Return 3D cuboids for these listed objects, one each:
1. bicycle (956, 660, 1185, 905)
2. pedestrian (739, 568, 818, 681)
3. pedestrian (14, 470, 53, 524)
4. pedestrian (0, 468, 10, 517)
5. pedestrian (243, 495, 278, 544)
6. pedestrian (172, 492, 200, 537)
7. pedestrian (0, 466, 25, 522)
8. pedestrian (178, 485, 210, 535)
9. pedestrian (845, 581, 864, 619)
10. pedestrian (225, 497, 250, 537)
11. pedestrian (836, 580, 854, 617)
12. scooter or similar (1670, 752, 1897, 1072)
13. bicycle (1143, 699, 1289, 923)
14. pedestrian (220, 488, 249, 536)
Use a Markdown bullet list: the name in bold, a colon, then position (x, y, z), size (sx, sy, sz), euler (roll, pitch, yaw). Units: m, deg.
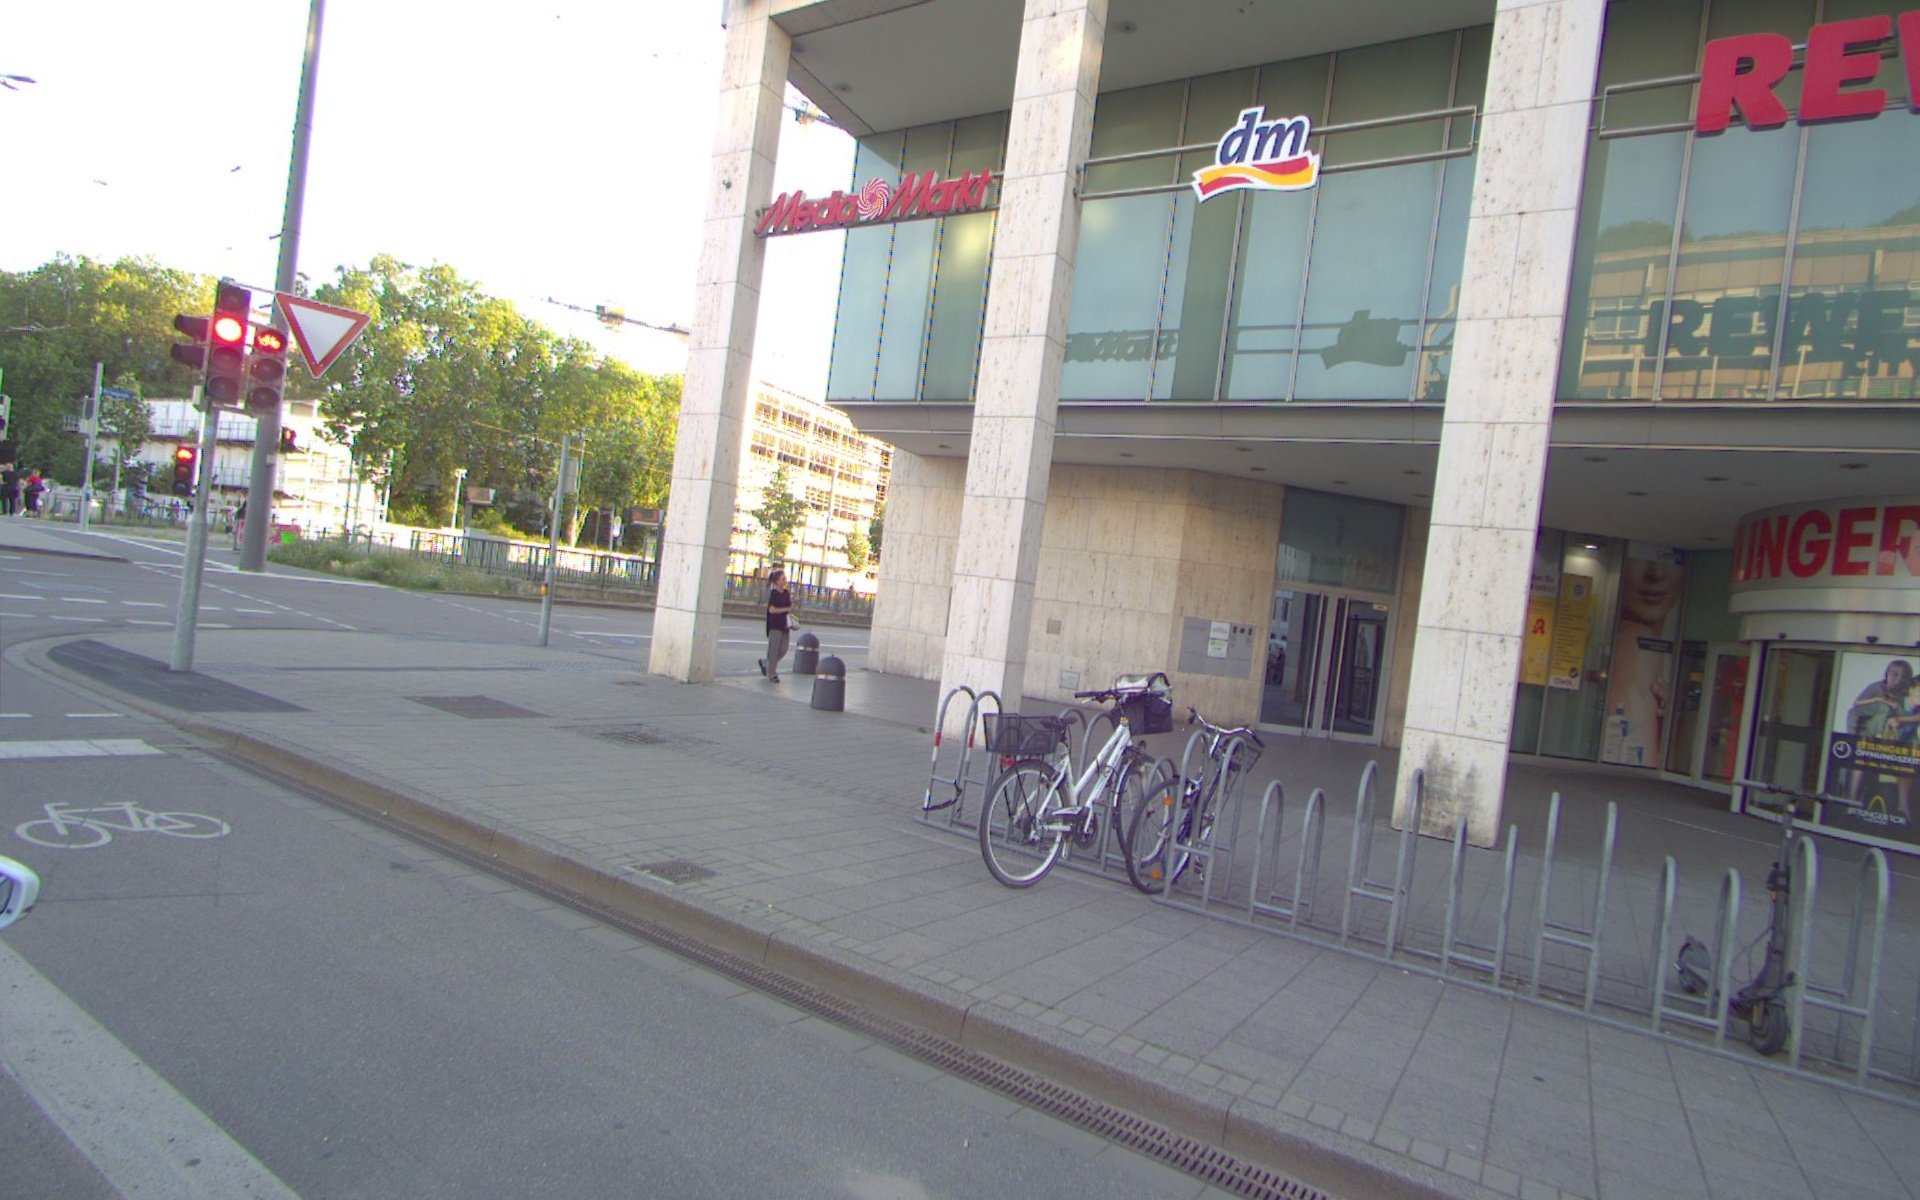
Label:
- **bicycle**: position (0.697, 1.006, 5.925), size (0.540, 1.198, 1.479), euler (8, 1, 36)
- **pedestrian**: position (-2.855, 0.396, 15.850), size (0.696, 1.659, 0.791), euler (8, 1, 32)
- **pedestrian**: position (-32.686, -3.628, 35.491), size (0.696, 1.756, 0.843), euler (8, 1, 44)
- **pedestrian**: position (-33.984, -3.813, 35.458), size (0.570, 1.699, 0.631), euler (7, 1, -44)
- **pedestrian**: position (-26.983, -3.090, 38.823), size (0.700, 1.746, 0.668), euler (8, 1, 21)
- **pedestrian**: position (-29.587, -3.274, 38.467), size (0.527, 1.612, 0.571), euler (8, 1, 32)
- **pedestrian**: position (-32.808, -3.665, 34.590), size (0.803, 1.814, 0.790), euler (7, 1, -44)
- **pedestrian**: position (-28.675, -3.345, 37.673), size (0.660, 1.746, 0.708), euler (7, 1, -25)
- **pedestrian**: position (-6.041, -0.003, 57.749), size (0.631, 2.039, 0.626), euler (8, 1, 28)
- **pedestrian**: position (-28.214, -3.254, 39.297), size (0.672, 1.459, 0.707), euler (7, 1, -36)
- **pedestrian**: position (-6.654, -0.072, 58.079), size (0.559, 2.039, 0.575), euler (8, 1, 28)
- **scooter or similar**: position (3.984, 1.437, 4.956), size (0.484, 1.214, 1.196), euler (8, 1, 27)
- **bicycle**: position (1.671, 1.240, 6.373), size (0.474, 1.092, 1.773), euler (8, 0, 24)
- **pedestrian**: position (-27.841, -3.368, 38.597), size (0.708, 1.746, 0.660), euler (7, 1, -41)
